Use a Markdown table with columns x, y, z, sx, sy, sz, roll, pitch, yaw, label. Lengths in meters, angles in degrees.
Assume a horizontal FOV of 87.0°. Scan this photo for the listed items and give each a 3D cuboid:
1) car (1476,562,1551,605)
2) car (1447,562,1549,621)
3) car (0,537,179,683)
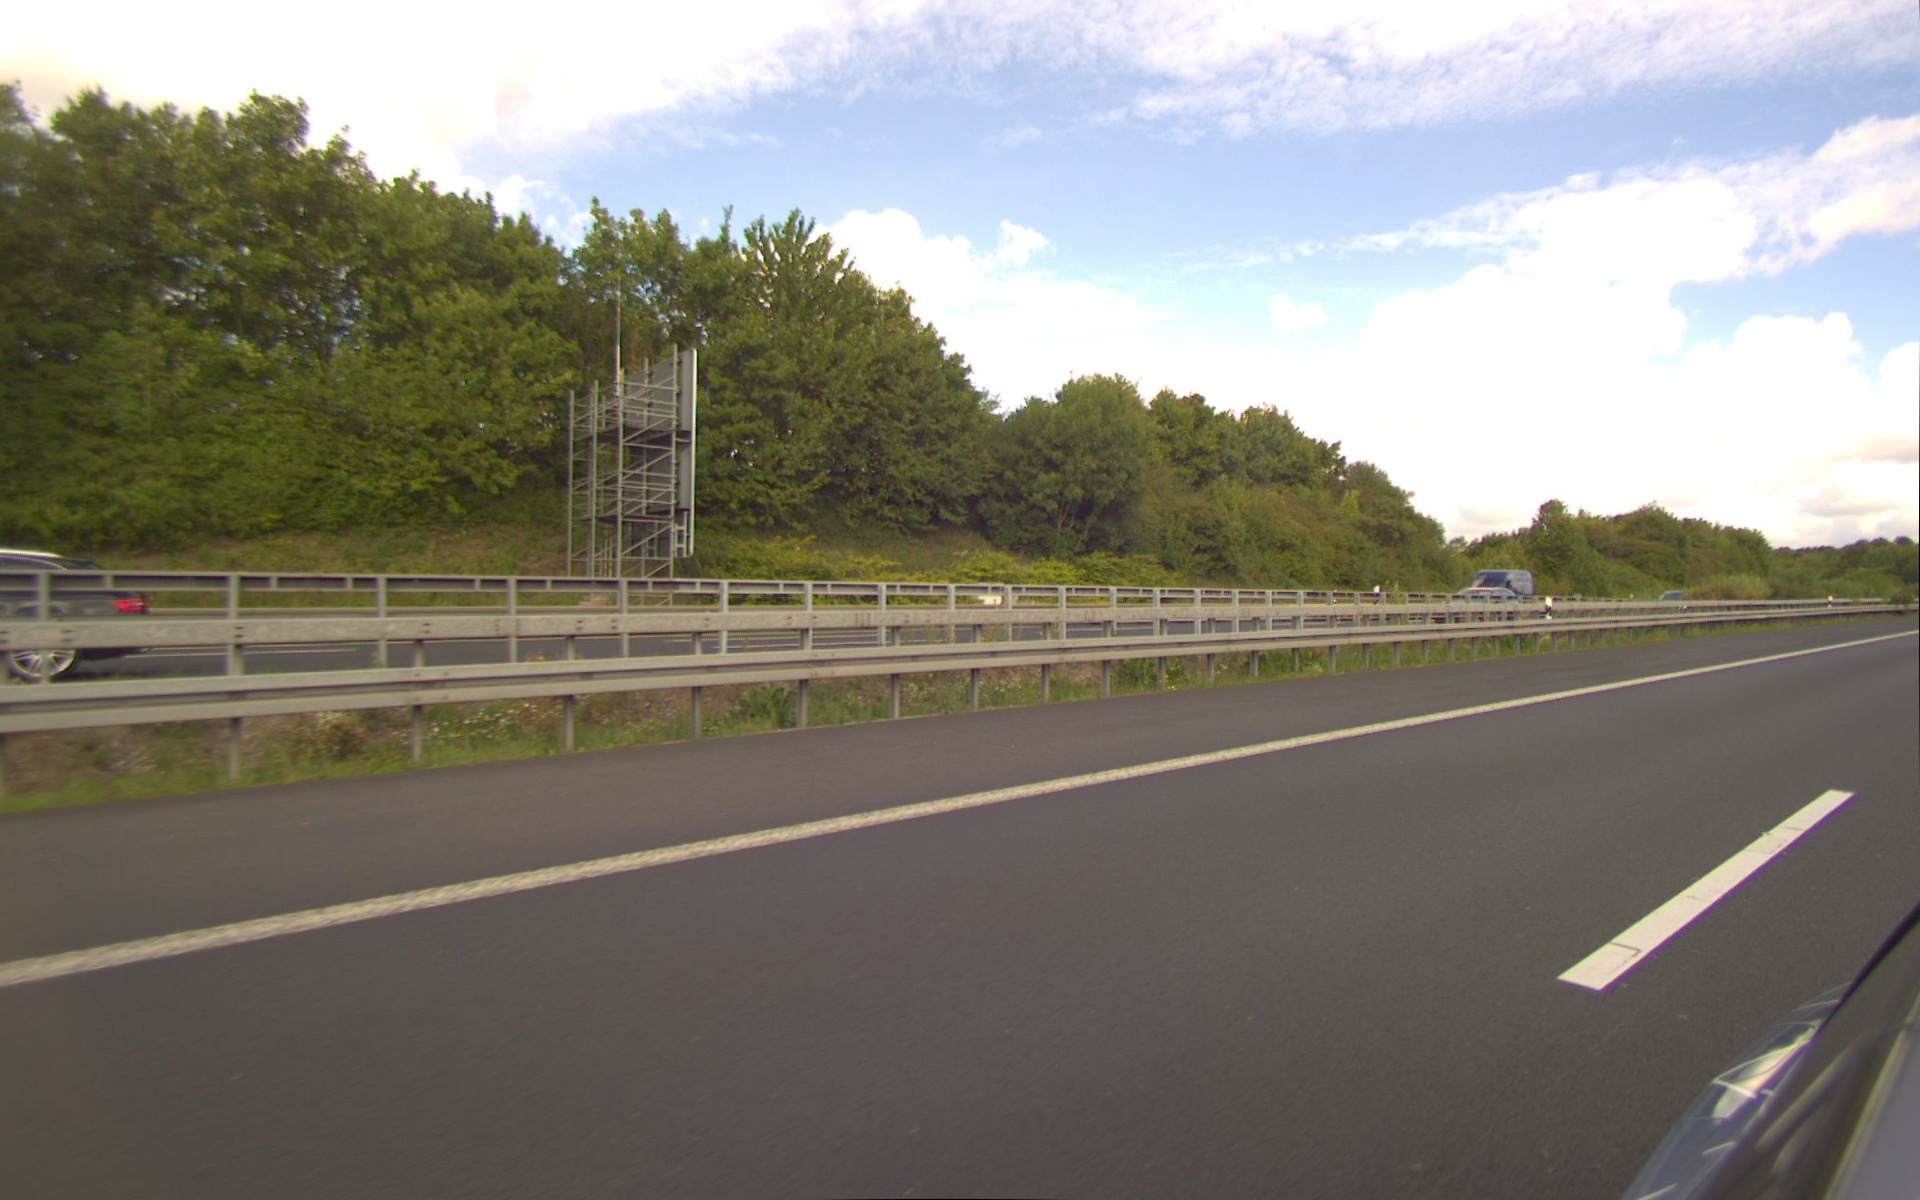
| x | y | z | sx | sy | sz | roll | pitch | yaw | label |
| --- | --- | --- | --- | --- | --- | --- | --- | --- | --- |
| 30.002 | -0.896 | 54.770 | 5.040 | 2.213 | 1.996 | -1 | 1 | -42 | car |
| 19.938 | -0.337 | 37.459 | 3.930 | 2.038 | 1.998 | 0 | 2 | -41 | car |
| -11.029 | 0.088 | 10.729 | 4.237 | 1.503 | 1.996 | -1 | 1 | -42 | car |
